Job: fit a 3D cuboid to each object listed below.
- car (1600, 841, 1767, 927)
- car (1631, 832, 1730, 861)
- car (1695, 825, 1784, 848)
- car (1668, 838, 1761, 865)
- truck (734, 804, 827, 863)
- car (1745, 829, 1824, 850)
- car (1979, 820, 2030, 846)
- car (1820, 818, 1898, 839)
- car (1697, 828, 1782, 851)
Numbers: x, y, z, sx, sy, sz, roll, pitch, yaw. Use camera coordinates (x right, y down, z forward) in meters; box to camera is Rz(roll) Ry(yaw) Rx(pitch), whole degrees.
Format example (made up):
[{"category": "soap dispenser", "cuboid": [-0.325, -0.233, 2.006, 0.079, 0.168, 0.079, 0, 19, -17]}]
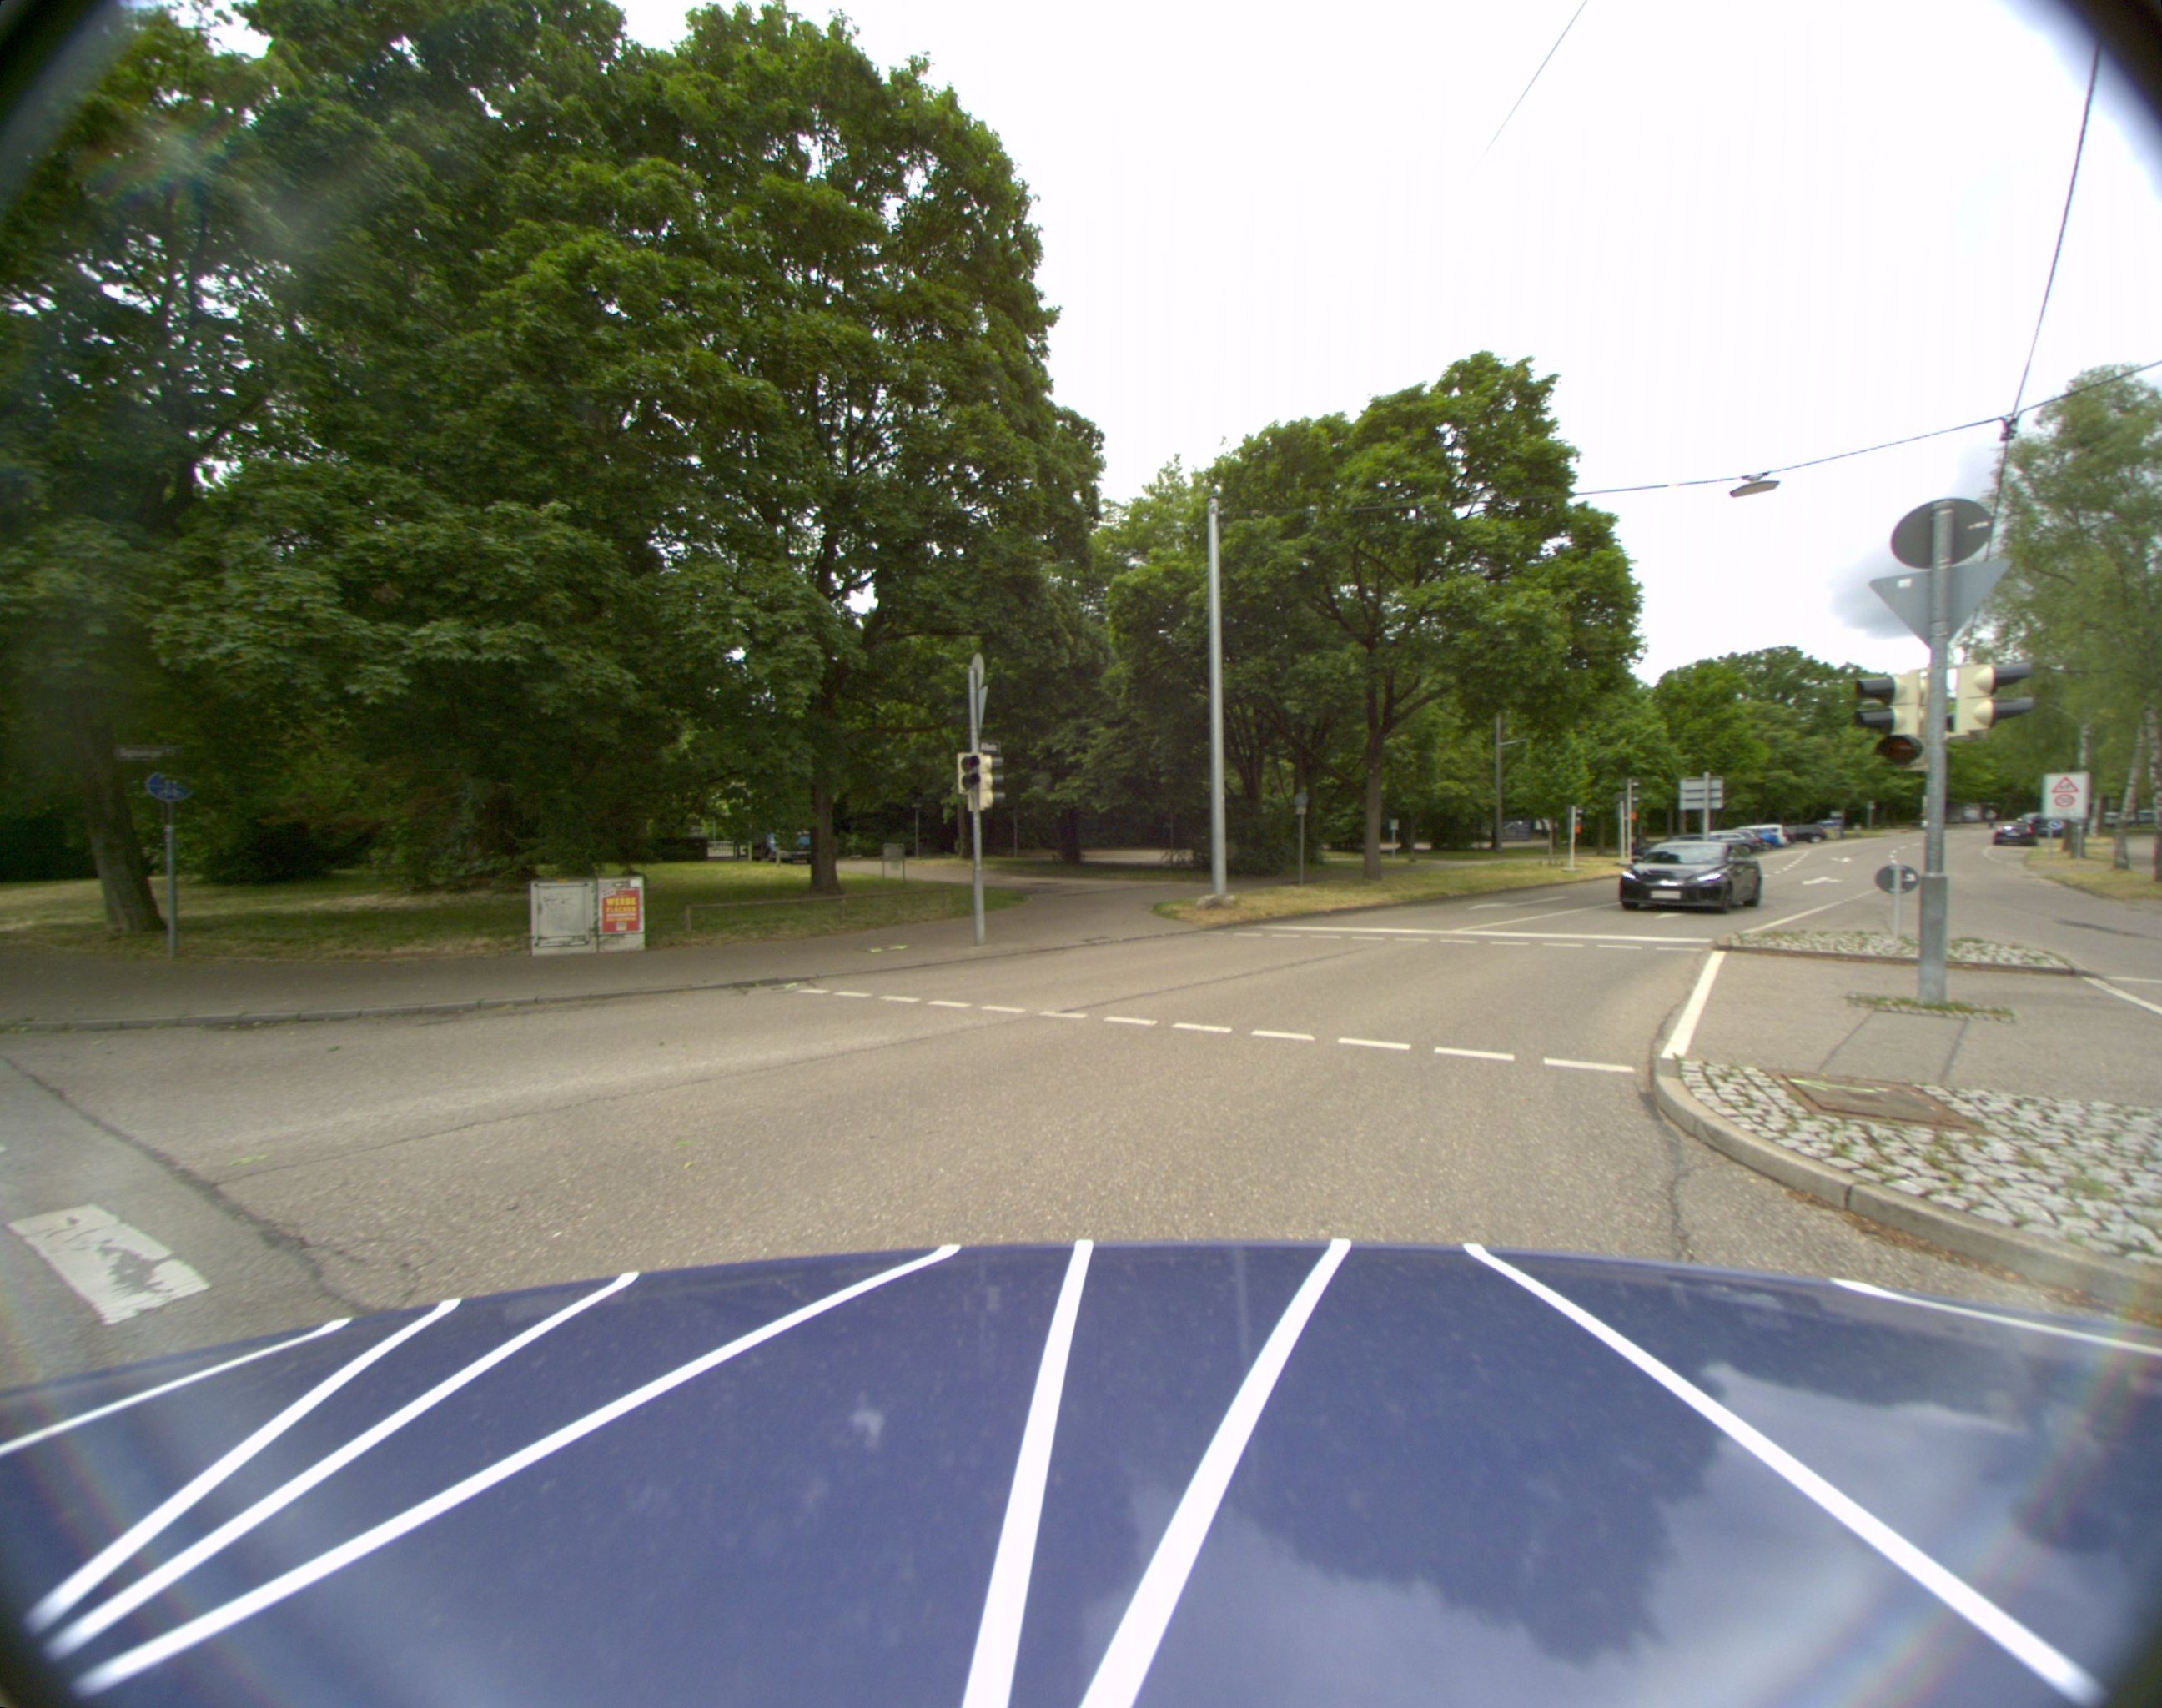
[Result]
[{"category": "car", "cuboid": [13.412, 0.599, 16.845, 4.007, 1.608, 1.995, -2, -1, -39]}, {"category": "car", "cuboid": [32.637, -0.459, 41.522, 3.989, 1.478, 1.922, 1, 3, 30]}, {"category": "car", "cuboid": [46.379, -1.222, 53.628, 4.407, 1.600, 2.003, 0, 2, 28]}, {"category": "car", "cuboid": [37.099, -0.167, 44.622, 3.988, 1.478, 1.922, 1, 2, 33]}, {"category": "truck", "cuboid": [-16.057, -1.061, 40.296, 2.487, 2.831, 7.411, -2, 2, -39]}, {"category": "car", "cuboid": [55.651, -1.107, 60.246, 4.406, 1.600, 2.004, 0, 2, 36]}, {"category": "car", "cuboid": [65.185, -1.524, 53.625, 4.426, 1.600, 1.970, -4, 5, -36]}, {"category": "car", "cuboid": [64.565, -2.103, 63.162, 4.405, 1.600, 2.004, 1, 2, 42]}, {"category": "car", "cuboid": [43.167, -0.982, 49.932, 3.988, 1.478, 1.922, 1, 2, 33]}]
